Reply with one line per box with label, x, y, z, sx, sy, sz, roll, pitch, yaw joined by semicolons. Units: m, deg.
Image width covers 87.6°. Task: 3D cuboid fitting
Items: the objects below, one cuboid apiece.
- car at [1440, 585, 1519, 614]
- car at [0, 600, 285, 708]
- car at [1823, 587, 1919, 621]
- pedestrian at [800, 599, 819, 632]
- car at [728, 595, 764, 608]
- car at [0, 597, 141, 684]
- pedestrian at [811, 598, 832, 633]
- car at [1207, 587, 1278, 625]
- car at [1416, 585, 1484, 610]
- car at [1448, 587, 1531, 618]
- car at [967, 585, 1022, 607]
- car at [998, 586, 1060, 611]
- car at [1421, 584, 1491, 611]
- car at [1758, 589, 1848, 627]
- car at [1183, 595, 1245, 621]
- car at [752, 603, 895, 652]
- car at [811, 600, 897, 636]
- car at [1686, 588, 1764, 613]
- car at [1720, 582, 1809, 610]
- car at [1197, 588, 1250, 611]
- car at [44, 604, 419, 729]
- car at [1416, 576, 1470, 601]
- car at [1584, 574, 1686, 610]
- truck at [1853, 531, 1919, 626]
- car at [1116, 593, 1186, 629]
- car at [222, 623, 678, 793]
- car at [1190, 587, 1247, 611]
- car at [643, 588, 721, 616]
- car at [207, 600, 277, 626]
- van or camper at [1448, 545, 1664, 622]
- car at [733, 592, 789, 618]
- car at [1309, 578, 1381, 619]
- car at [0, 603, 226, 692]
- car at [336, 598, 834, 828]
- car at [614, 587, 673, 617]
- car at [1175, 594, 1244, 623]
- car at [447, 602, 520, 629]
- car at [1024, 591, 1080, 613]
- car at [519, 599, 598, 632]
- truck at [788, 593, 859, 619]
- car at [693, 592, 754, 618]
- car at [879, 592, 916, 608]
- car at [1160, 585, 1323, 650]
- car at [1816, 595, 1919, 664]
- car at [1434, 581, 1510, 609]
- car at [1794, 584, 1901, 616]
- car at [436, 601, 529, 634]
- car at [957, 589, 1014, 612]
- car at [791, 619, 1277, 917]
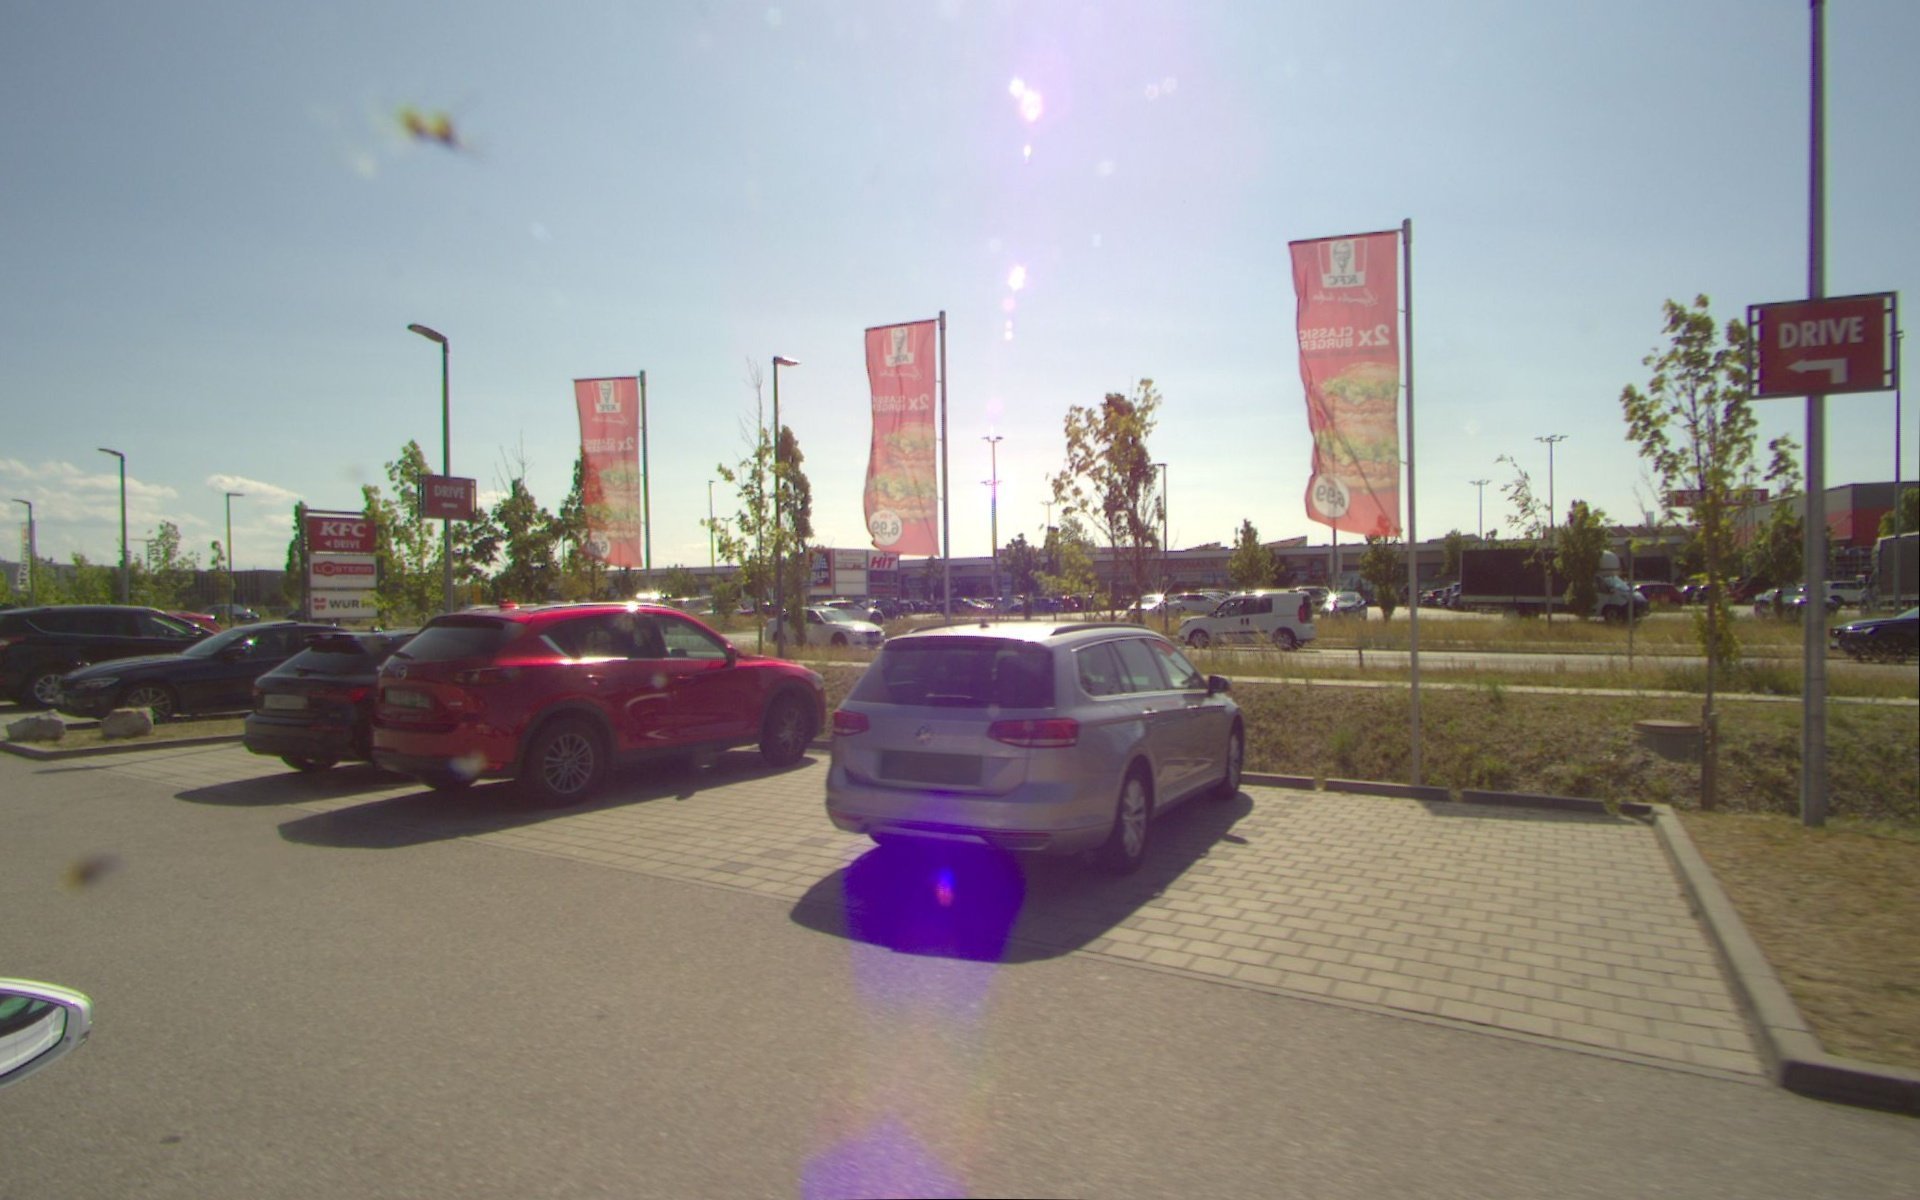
car;34.144;-0.034;65.906;4.325;1.880;1.952;0;0;18
car;-15.030;0.904;18.154;1.872;1.725;4.303;0;-1;37
car;52.345;0.226;57.060;4.325;1.880;1.952;0;0;18
pedestrian;-7.183;0.731;47.809;0.660;1.577;0.620;1;1;44
car;-22.289;0.147;104.167;3.423;1.419;1.429;0;0;19
car;-20.378;0.833;21.060;1.870;1.783;4.562;0;-1;35
pedestrian;-6.530;0.715;47.179;0.748;1.621;0.686;1;1;44
car;14.884;0.308;52.652;1.933;1.880;4.369;1;0;41
car;37.127;-0.179;75.952;4.325;1.880;1.952;0;0;18
car;33.260;0.144;63.060;4.325;1.880;1.952;0;0;18
car;3.255;-0.362;93.545;4.840;2.040;2.080;0;0;14
car;5.386;-0.136;78.408;4.491;1.880;1.952;0;0;18
car;36.376;-0.182;73.577;4.325;1.880;1.952;0;0;18
car;34.103;0.314;40.618;1.627;1.479;3.956;0;0;22
car;18.893;0.582;74.493;4.325;1.880;1.952;0;0;18
car;-4.641;0.878;33.903;4.588;1.547;1.990;0;0;31
car;-5.781;0.944;54.812;4.354;1.870;1.984;0;0;-38
car;58.163;0.057;76.217;4.325;1.880;1.952;0;0;18
car;55.250;-0.296;68.893;4.325;1.880;1.952;0;0;18
car;22.206;-0.072;84.391;4.324;1.880;1.953;0;0;16
car;-11.184;0.931;15.670;1.871;1.659;4.421;0;-1;37
car;40.368;-0.930;83.781;3.931;2.040;1.995;0;0;21
car;36.229;-0.409;53.869;4.191;1.880;1.866;0;0;18
truck;37.932;-0.792;38.900;2.722;3.527;6.813;0;0;23
car;10.620;0.590;55.532;1.977;1.880;4.251;1;0;41
car;-5.203;0.982;10.857;1.746;1.428;4.190;0;-1;28
car;20.477;-0.080;79.293;4.325;1.880;1.952;0;0;18
car;-23.589;0.181;85.340;2.775;2.267;6.280;0;0;31
car;-51.468;0.910;71.746;4.680;1.756;1.994;0;0;24
van or camper;26.466;-0.685;44.902;2.391;3.143;7.990;0;0;-38
car;-15.632;0.389;78.755;1.977;2.040;4.057;1;0;41
car;18.918;-0.064;49.147;1.933;1.880;4.369;1;0;41
car;-17.552;0.890;20.207;1.869;1.630;4.059;1;-1;33
car;-3.239;0.853;9.539;1.922;1.659;4.212;0;-1;30
car;-27.522;0.172;87.317;1.968;2.488;5.056;1;0;27
car;16.560;0.566;66.517;4.325;1.880;1.952;0;0;18
car;-28.028;0.864;58.892;4.597;1.524;1.986;0;0;37
car;7.908;0.178;86.071;4.491;1.880;1.952;0;0;18
car;-21.134;0.777;52.600;4.546;1.686;1.865;0;0;39
truck;-9.999;0.427;73.851;1.974;1.888;5.395;1;0;37
car;-19.281;0.391;81.933;1.968;2.040;5.159;0;0;27
car;-6.378;0.003;102.105;3.411;1.573;1.665;0;0;13
car;9.143;0.545;32.616;4.820;1.980;1.871;0;0;29
car;23.952;0.709;24.186;4.739;1.646;1.988;0;0;34
car;34.757;-0.326;68.150;4.325;1.880;1.952;0;0;18
car;53.503;-0.005;60.449;4.325;1.880;2.045;0;0;18
car;-23.616;0.810;49.453;4.589;1.547;1.990;0;0;32
car;2.300;0.052;91.045;4.840;2.040;2.080;0;0;14
car;0.912;0.857;7.252;1.714;1.431;4.581;0;-1;30
